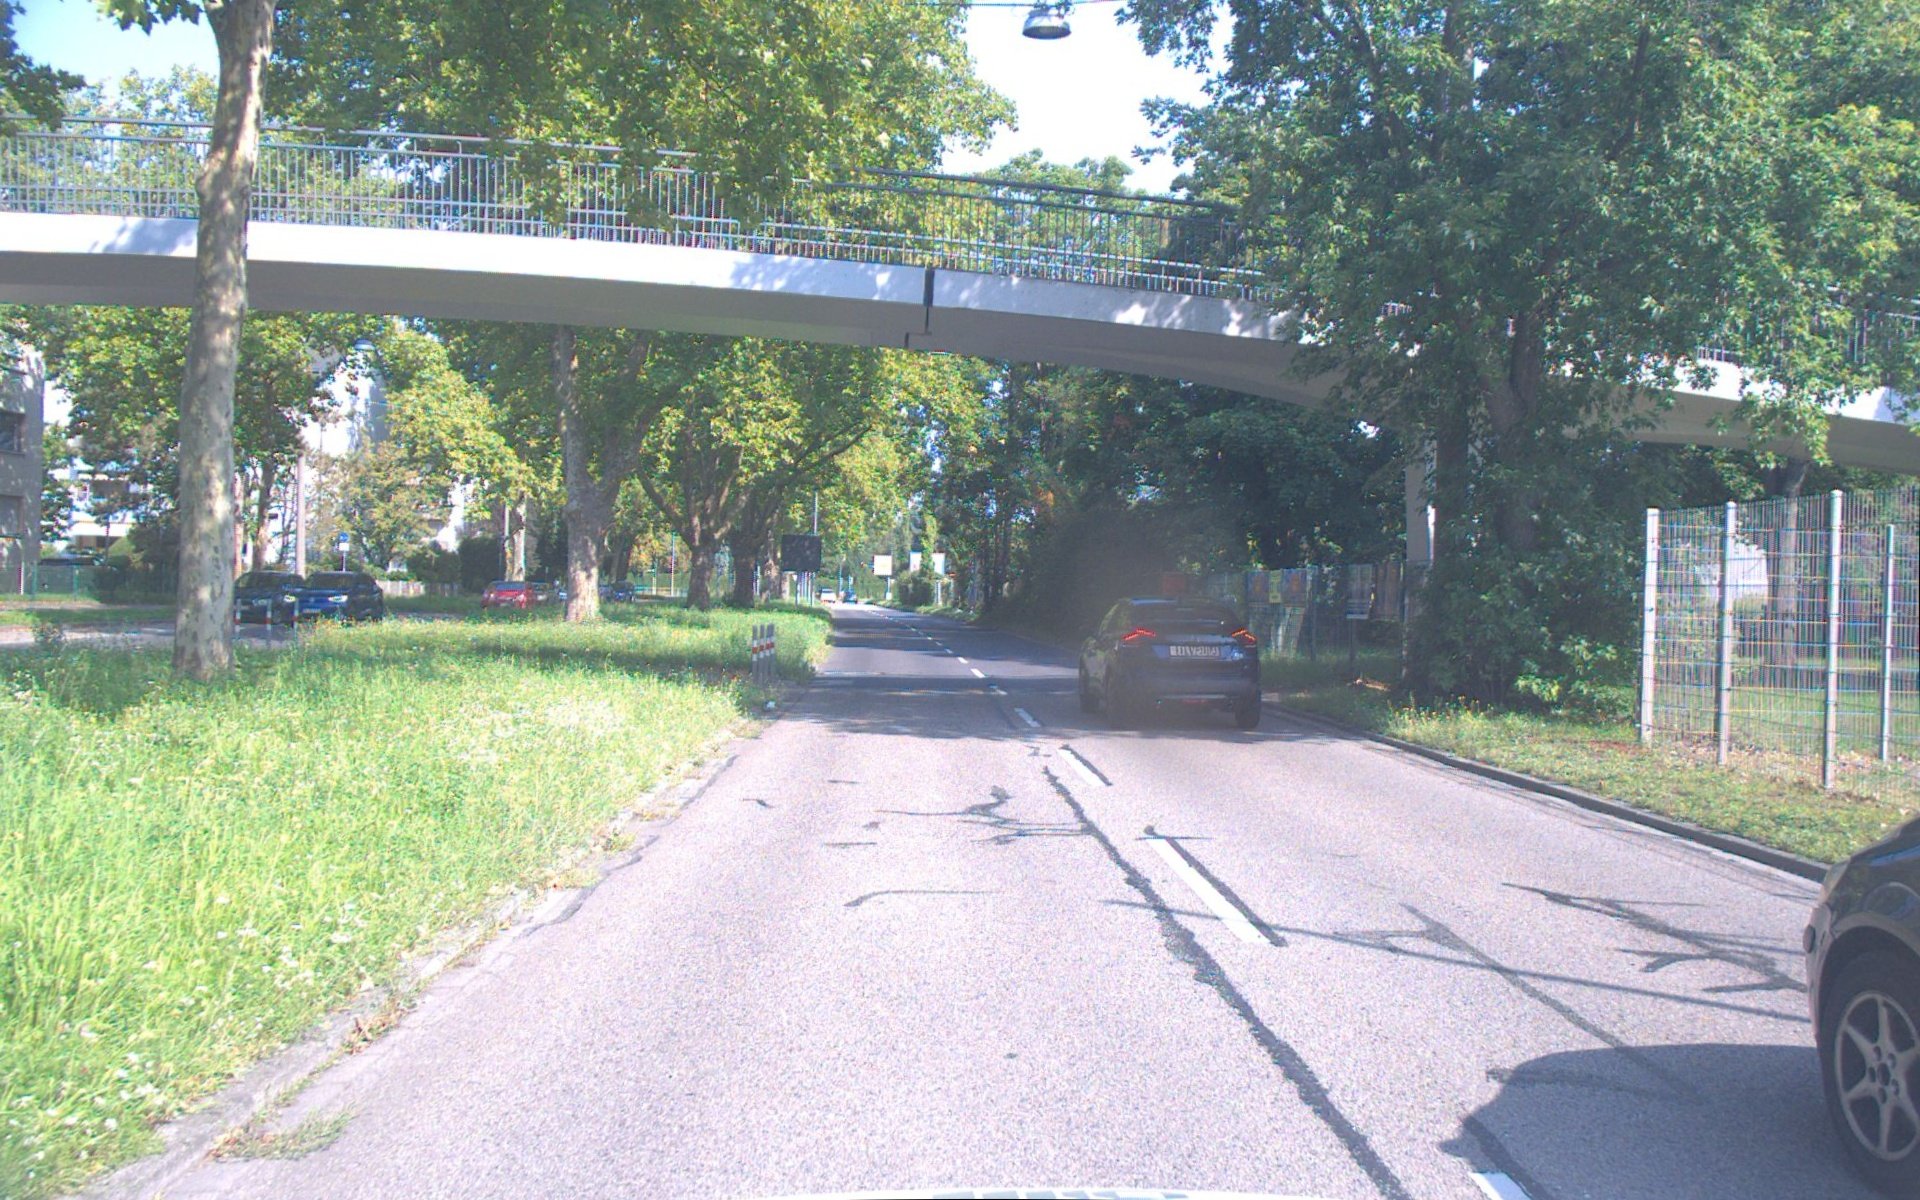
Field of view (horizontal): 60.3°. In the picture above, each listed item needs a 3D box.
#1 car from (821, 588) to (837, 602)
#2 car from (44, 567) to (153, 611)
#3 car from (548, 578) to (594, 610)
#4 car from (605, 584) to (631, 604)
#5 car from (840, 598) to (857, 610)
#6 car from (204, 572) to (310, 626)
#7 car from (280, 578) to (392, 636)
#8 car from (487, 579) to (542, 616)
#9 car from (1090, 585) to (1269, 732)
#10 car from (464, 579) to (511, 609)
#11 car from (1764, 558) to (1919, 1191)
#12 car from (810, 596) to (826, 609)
[{"bbox_3d":[-14.865,-0.572,187.688,1.654,1.487,3.996,2,0,-5],"label":"car"},{"bbox_3d":[-38.372,-0.473,73.705,3.963,1.803,1.971,2,0,-41],"label":"car"},{"bbox_3d":[-22.134,-0.336,94.142,1.766,1.750,4.716,1,0,-4],"label":"car"},{"bbox_3d":[-28.860,-0.519,139.637,1.666,1.595,3.996,1,0,-5],"label":"car"},{"bbox_3d":[-13.411,0.498,198.777,1.763,1.425,3.994,2,0,-6],"label":"car"},{"bbox_3d":[-21.415,-0.039,50.496,1.491,1.559,3.864,1,0,1],"label":"car"},{"bbox_3d":[-18.067,0.203,48.105,1.752,1.559,4.452,2,0,-3],"label":"car"},{"bbox_3d":[-20.179,-0.116,75.030,1.658,1.559,4.065,1,0,-5],"label":"car"},{"bbox_3d":[2.598,0.655,20.450,1.611,1.616,4.254,1,0,0],"label":"car"},{"bbox_3d":[-24.622,-0.295,86.264,1.508,1.477,4.061,2,0,-4],"label":"car"},{"bbox_3d":[3.273,0.711,2.975,1.612,1.584,3.897,2,0,-2],"label":"car"},{"bbox_3d":[-17.344,0.344,202.455,1.653,1.487,3.848,2,0,-2],"label":"car"}]
